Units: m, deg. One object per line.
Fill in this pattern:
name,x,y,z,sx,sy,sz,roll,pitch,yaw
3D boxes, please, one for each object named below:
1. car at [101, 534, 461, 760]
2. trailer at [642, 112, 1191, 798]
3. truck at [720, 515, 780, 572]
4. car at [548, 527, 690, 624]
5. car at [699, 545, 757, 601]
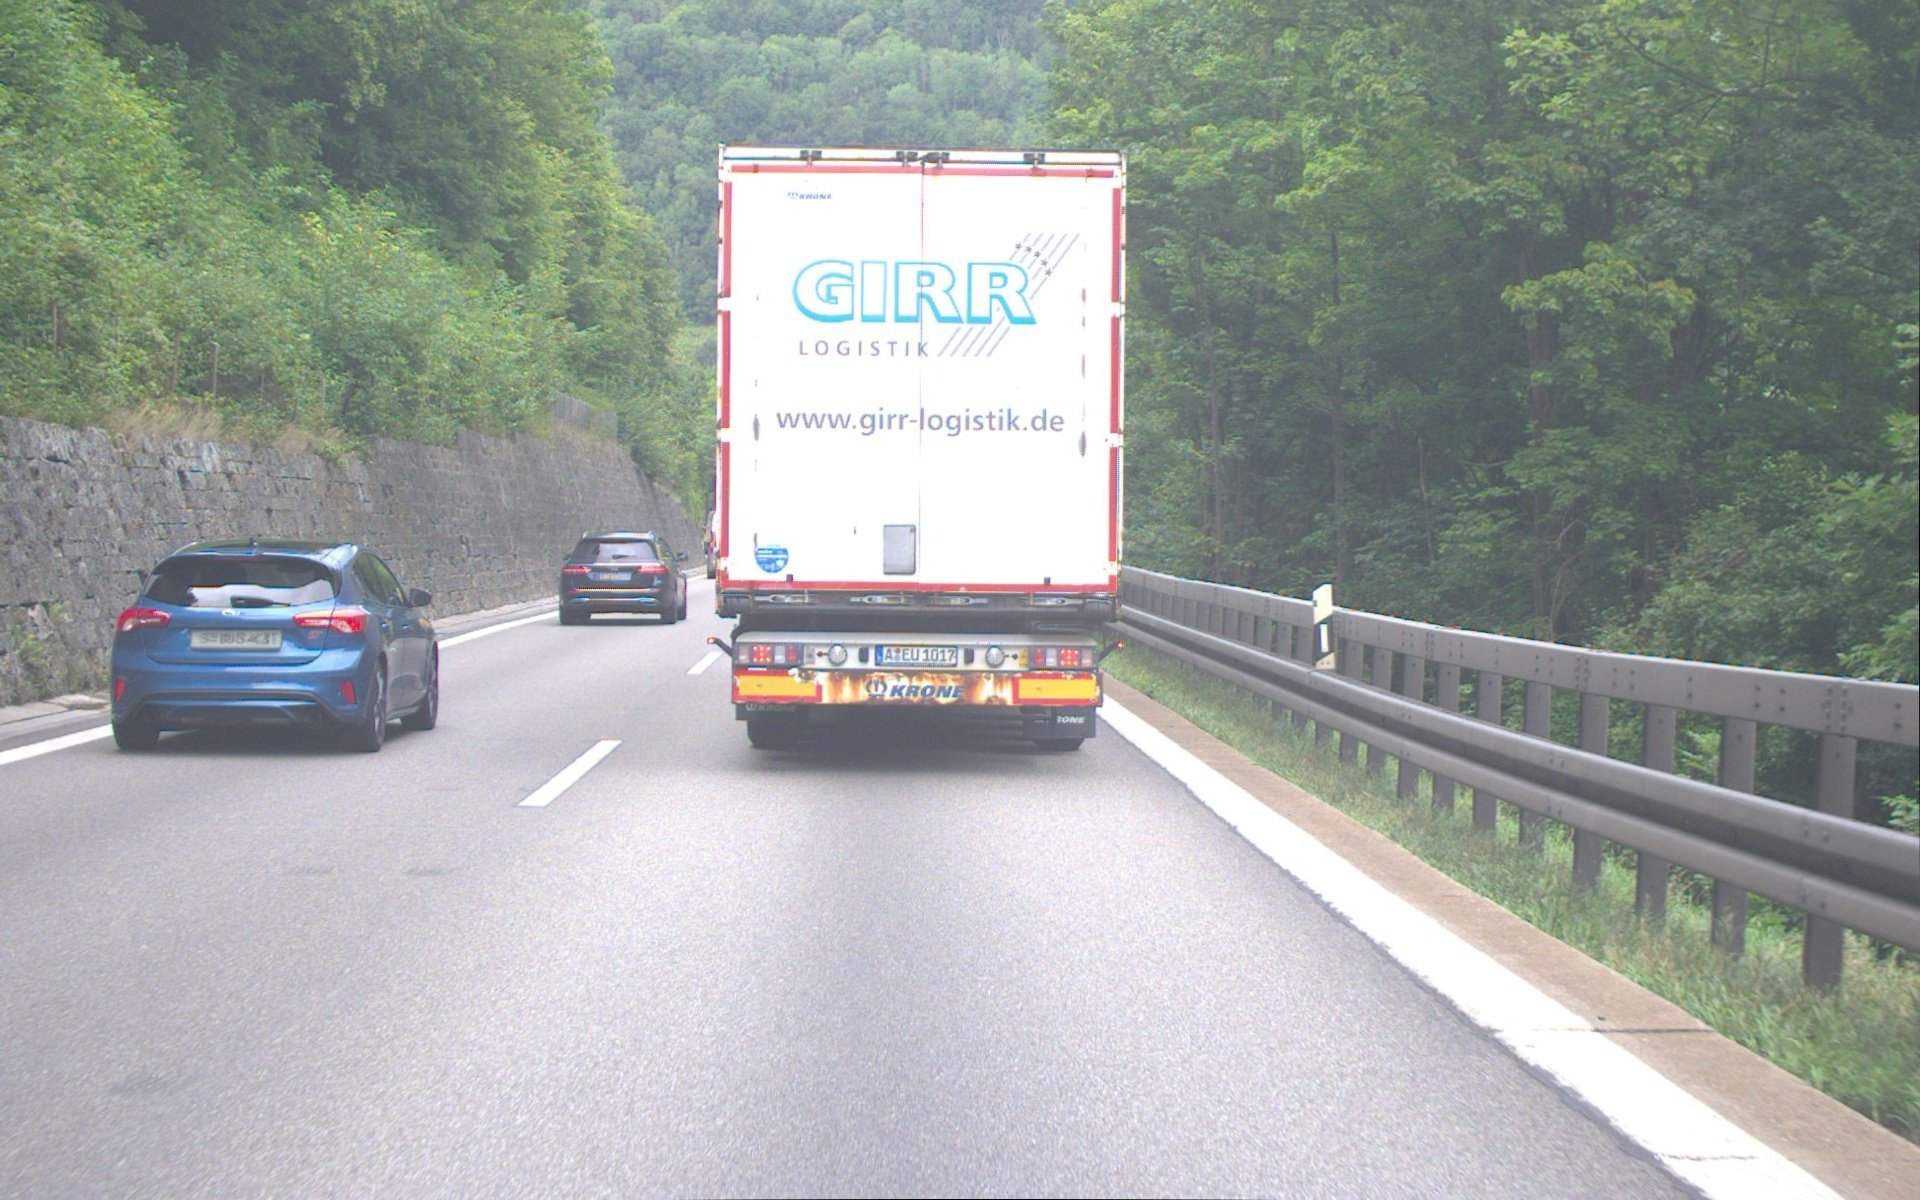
car,-4.781,0.275,24.812,1.836,1.464,4.556,1,1,-2
trailer,-0.474,-1.020,25.955,3.133,4.029,9.441,4,1,-3
truck,-8.975,-2.441,147.307,2.349,2.266,6.850,3,1,-2
car,-5.480,-0.437,55.741,1.760,1.458,5.123,1,1,0
car,-7.540,-0.897,112.054,1.634,1.720,4.345,1,1,-1
